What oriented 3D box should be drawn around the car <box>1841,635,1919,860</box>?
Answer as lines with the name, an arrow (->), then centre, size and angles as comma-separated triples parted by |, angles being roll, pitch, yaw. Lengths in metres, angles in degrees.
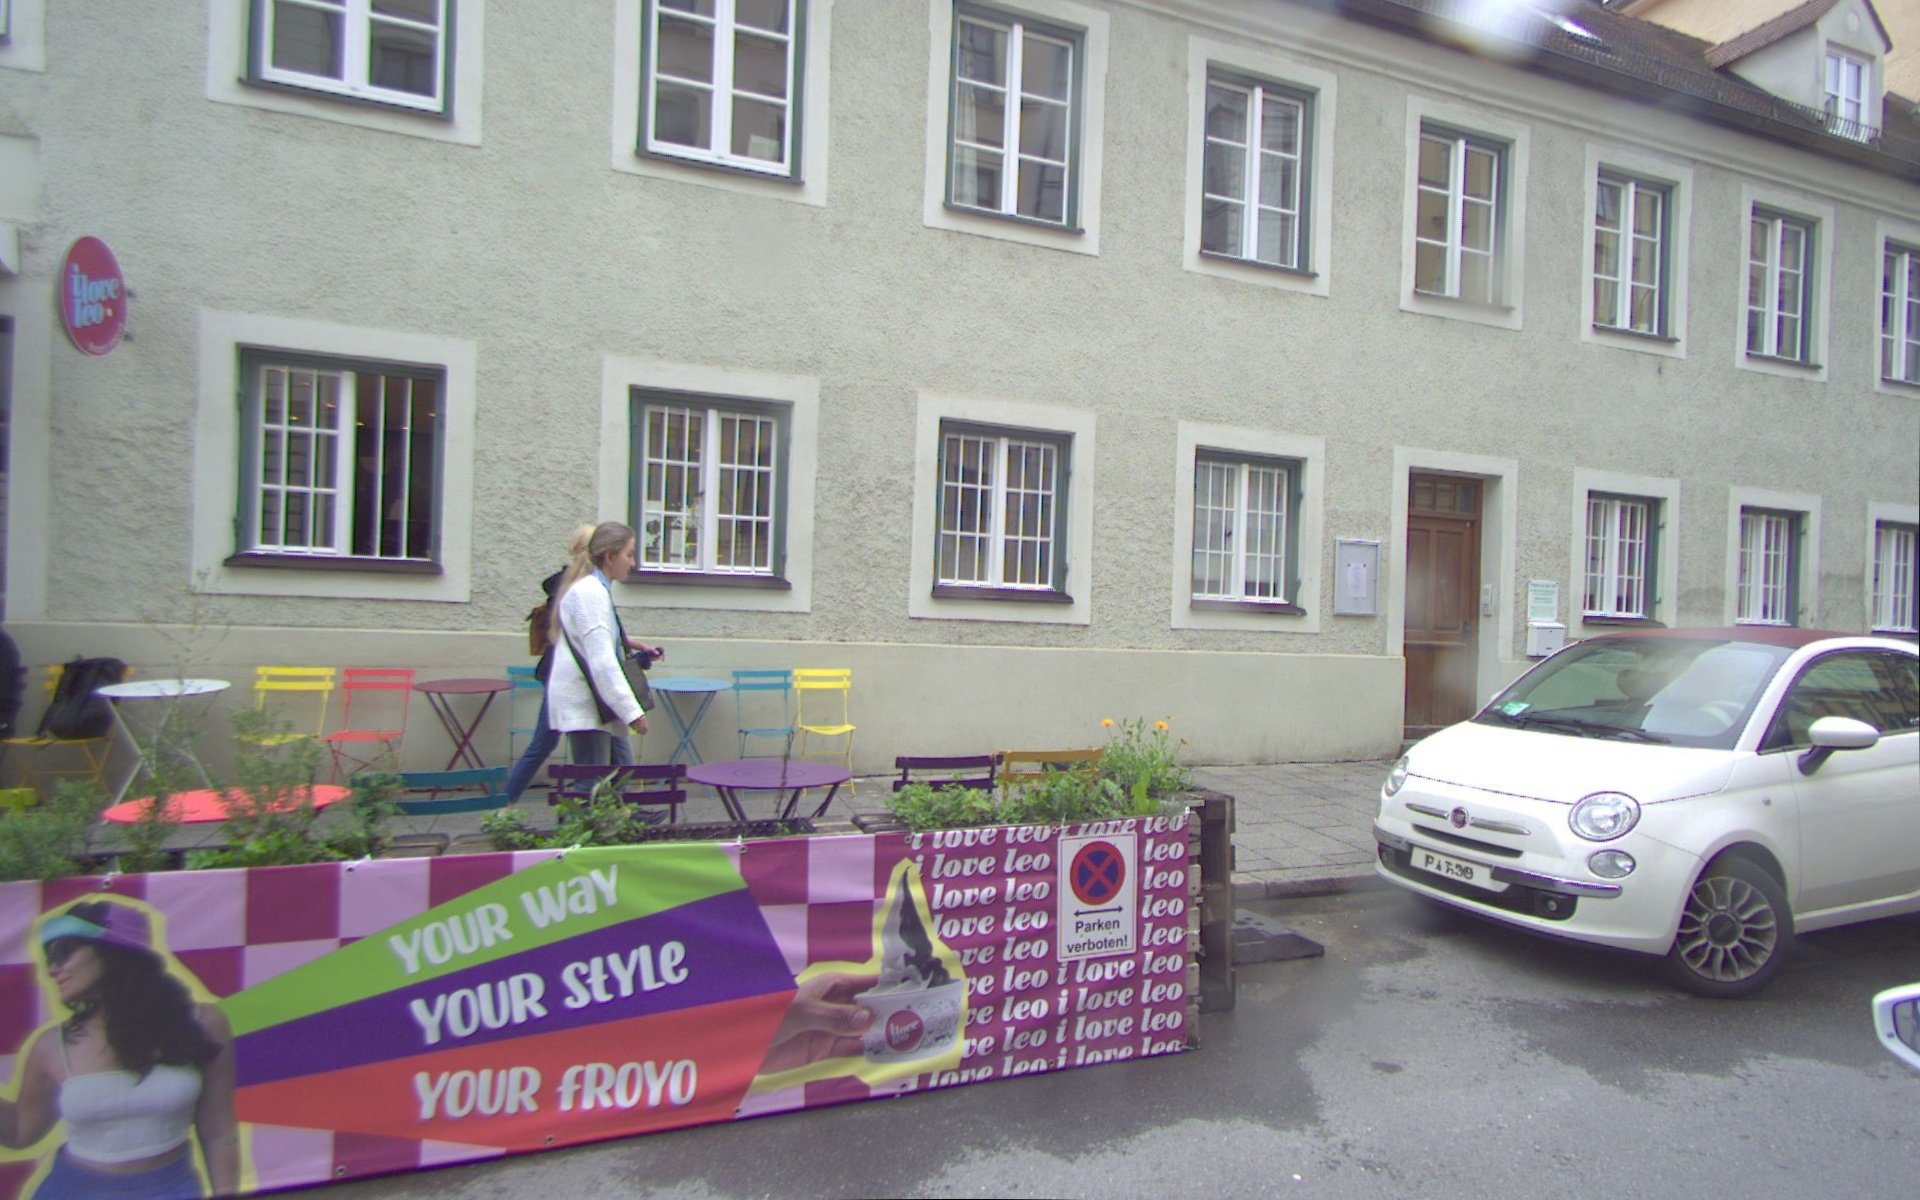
car -> 8.274, 1.015, 6.705 | 4.206, 1.420, 1.854 | 2, 0, -21

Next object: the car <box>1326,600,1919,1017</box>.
car -> 3.763, 0.824, 5.120 | 3.374, 1.534, 1.565 | 2, 0, -22

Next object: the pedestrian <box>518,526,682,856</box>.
pedestrian -> -2.031, 0.485, 5.671 | 0.795, 1.721, 0.579 | 1, 0, -23

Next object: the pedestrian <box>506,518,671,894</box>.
pedestrian -> -1.749, 0.466, 4.736 | 0.653, 1.620, 0.611 | 1, 0, -22

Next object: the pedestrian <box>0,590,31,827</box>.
pedestrian -> -5.476, 0.593, 5.351 | 0.537, 1.283, 0.523 | 0, 2, -5
